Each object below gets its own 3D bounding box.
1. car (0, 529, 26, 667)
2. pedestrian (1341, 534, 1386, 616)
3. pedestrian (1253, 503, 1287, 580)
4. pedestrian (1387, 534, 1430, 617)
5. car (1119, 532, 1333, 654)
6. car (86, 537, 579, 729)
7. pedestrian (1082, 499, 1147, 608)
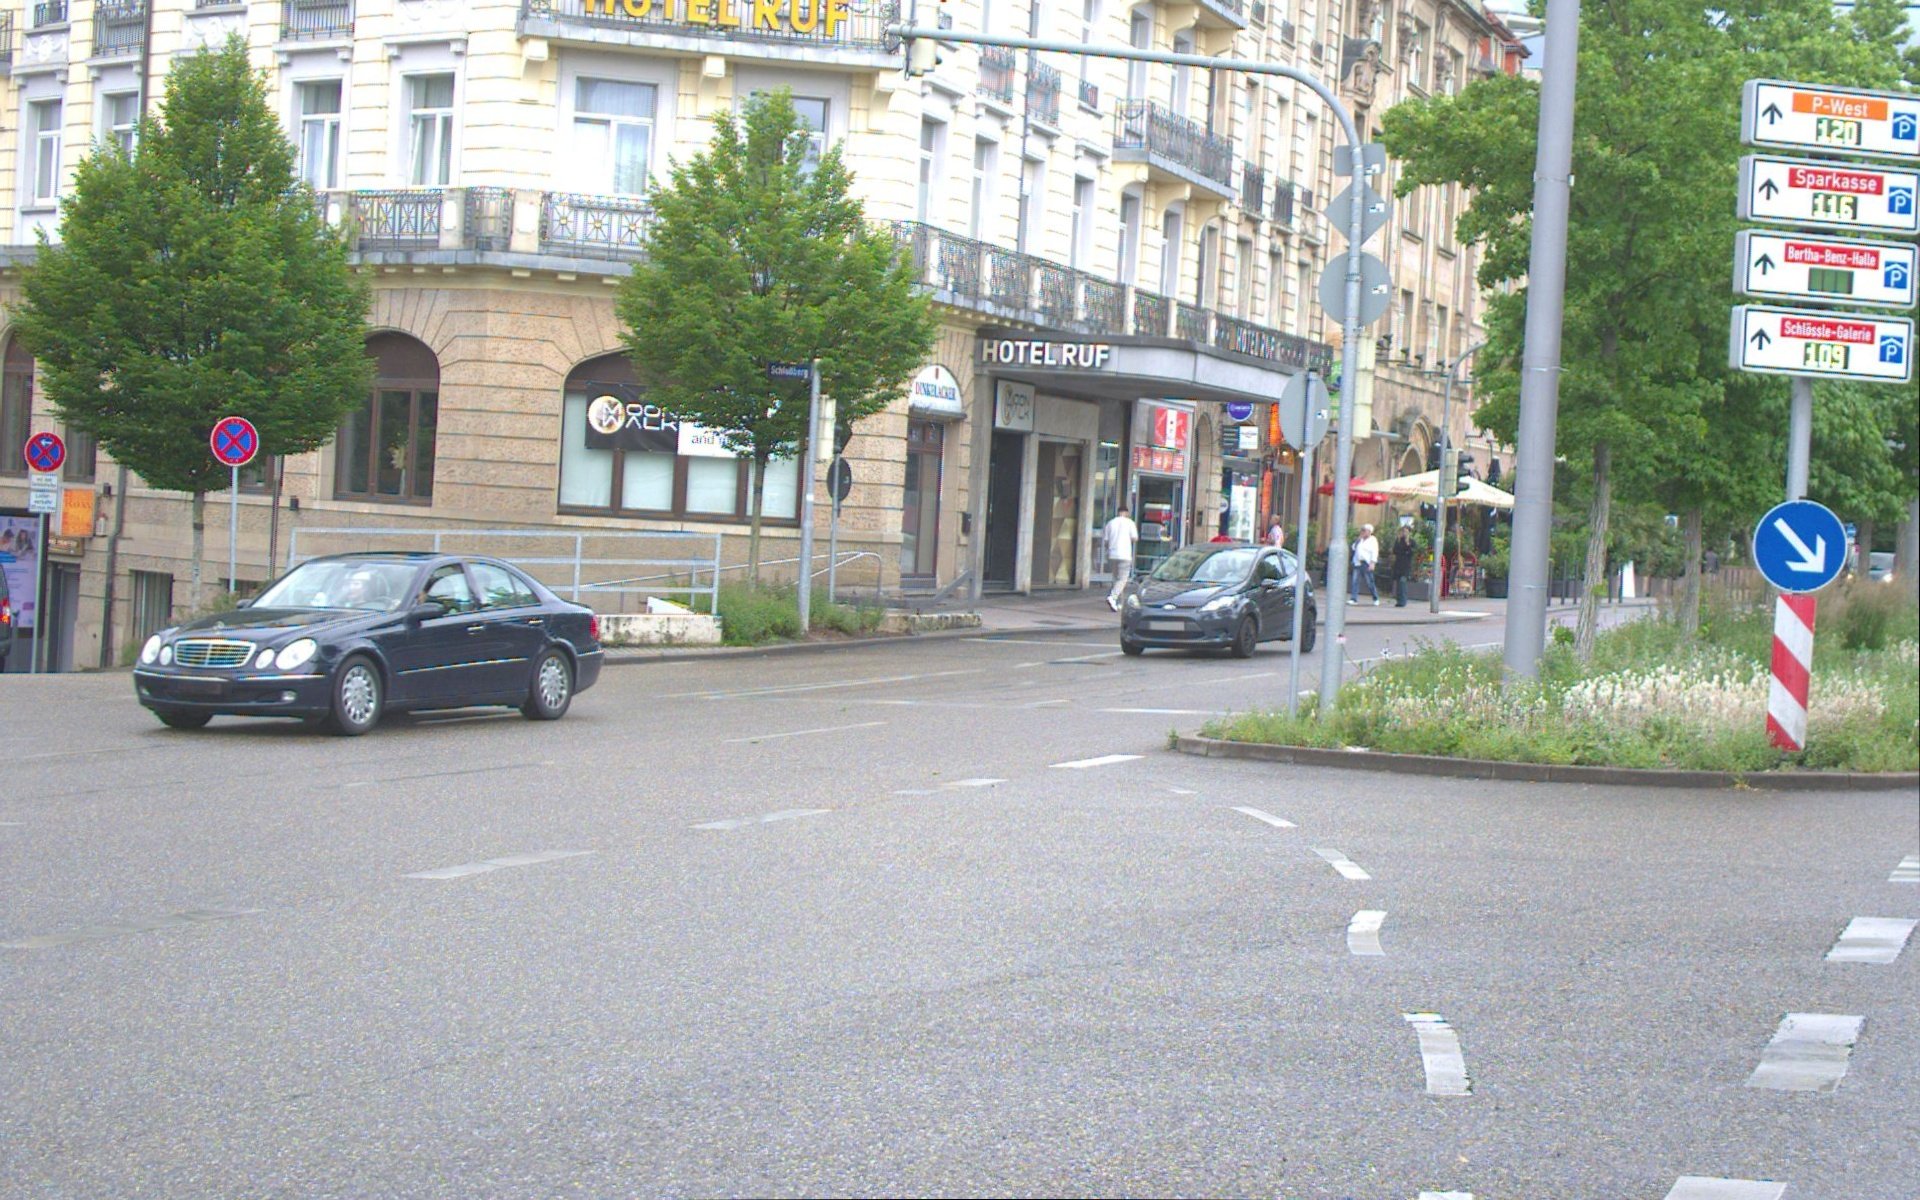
[{"bbox_3d":[-13.692,-0.090,45.341,1.629,1.753,4.000,1,2,-31],"label":"car"},{"bbox_3d":[8.201,-0.510,69.831,0.682,1.658,0.806,1,0,22],"label":"pedestrian"},{"bbox_3d":[6.730,-1.262,74.618,0.667,1.658,0.536,1,0,11],"label":"pedestrian"},{"bbox_3d":[9.078,-0.499,69.570,0.682,1.658,0.806,1,0,19],"label":"pedestrian"},{"bbox_3d":[3.531,-0.101,45.057,1.679,1.507,3.859,1,1,22],"label":"car"},{"bbox_3d":[-4.997,0.235,27.935,1.958,1.418,3.994,1,1,26],"label":"car"},{"bbox_3d":[2.584,-0.775,57.502,0.880,1.806,0.750,1,0,19],"label":"pedestrian"}]
